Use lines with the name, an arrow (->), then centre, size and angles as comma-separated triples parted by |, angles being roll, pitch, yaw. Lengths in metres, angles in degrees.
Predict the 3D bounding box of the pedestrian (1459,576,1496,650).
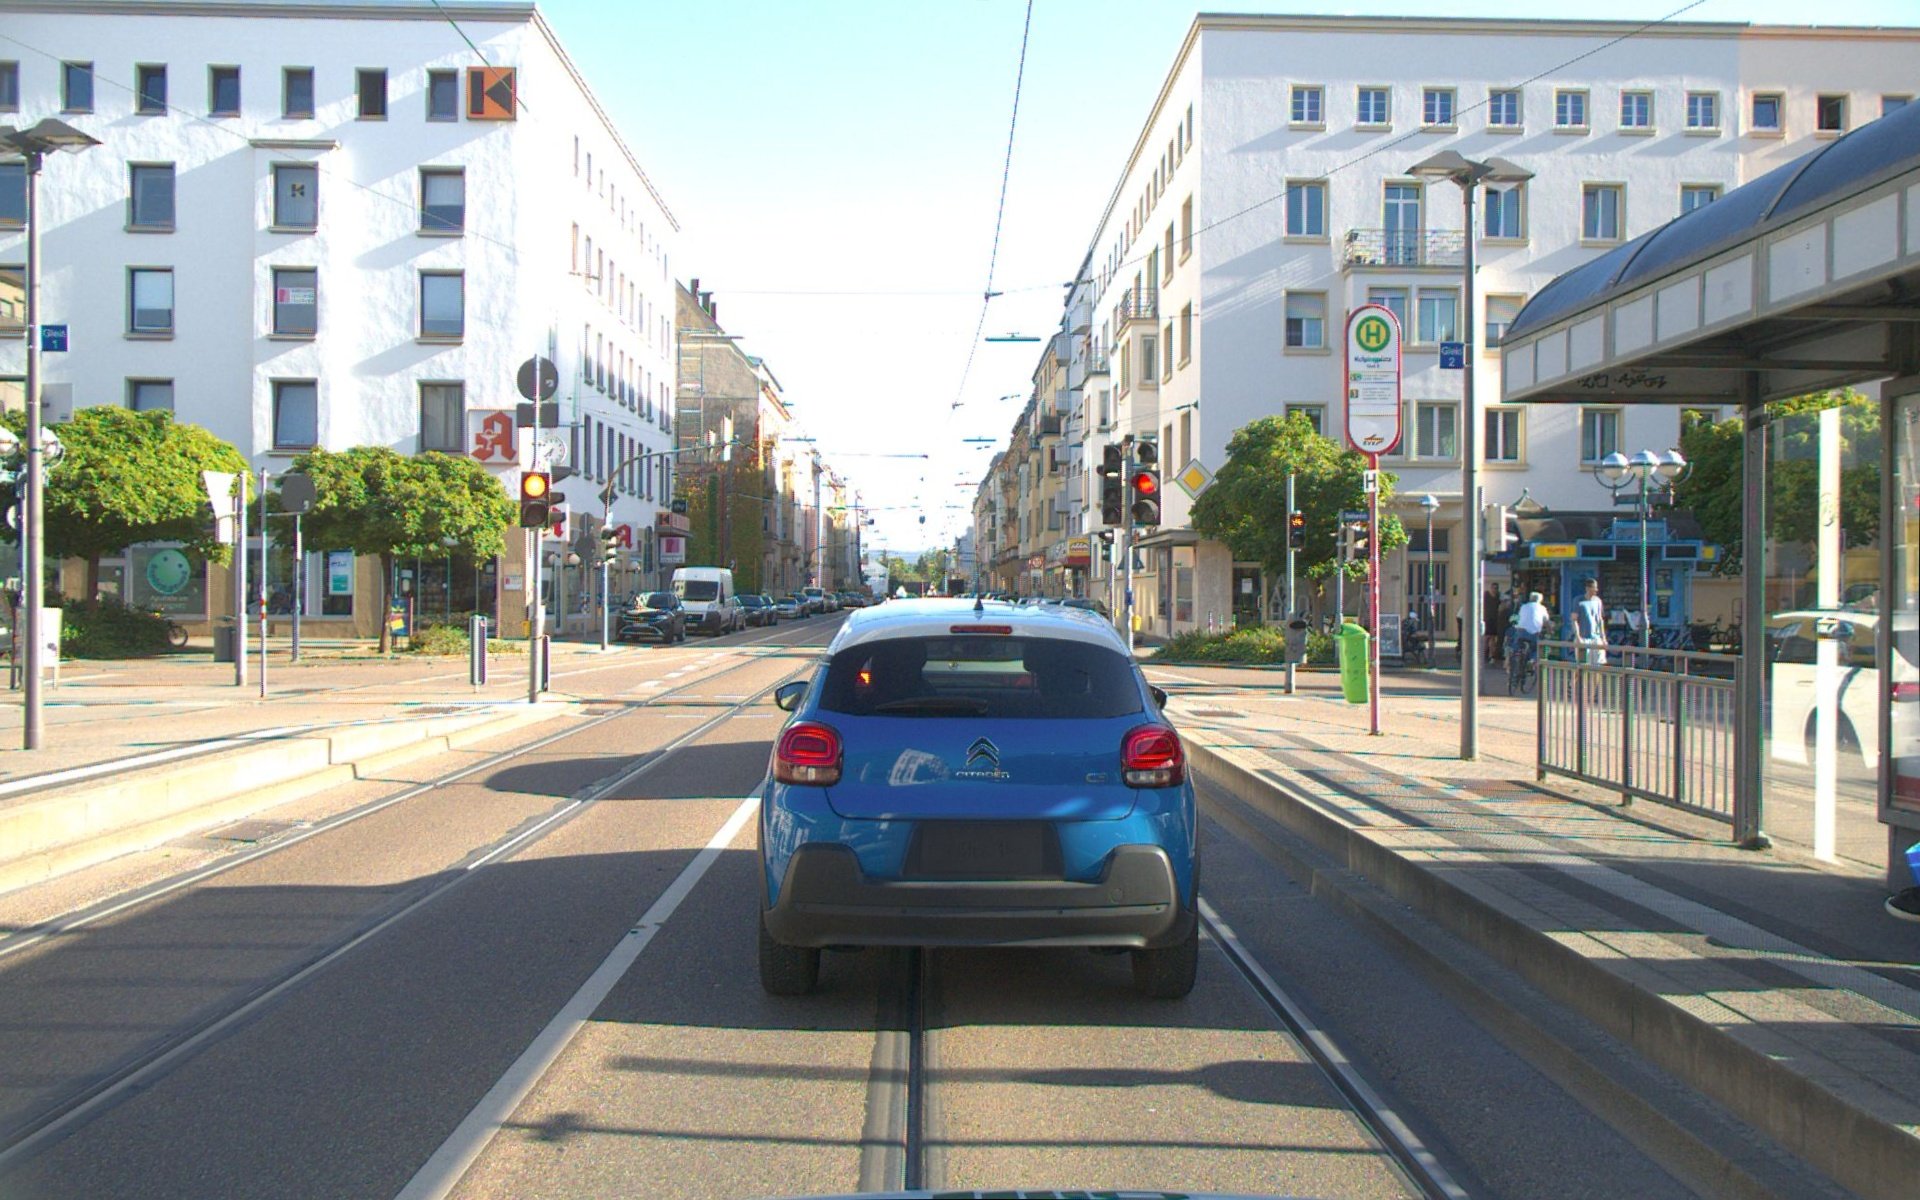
pedestrian -> 13.319, 0.333, 42.607 | 0.768, 1.871, 0.678 | 0, 0, 2

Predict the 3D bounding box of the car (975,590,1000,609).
car -> 2.197, -0.013, 133.234 | 1.953, 1.489, 4.000 | 0, 0, 0

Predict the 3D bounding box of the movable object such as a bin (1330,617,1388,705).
movable object such as a bin -> 3.741, 0.563, 15.512 | 0.439, 0.800, 0.489 | 0, 0, 2

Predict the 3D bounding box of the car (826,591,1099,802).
car -> -0.022, 0.689, 14.328 | 1.944, 1.490, 4.814 | 1, 0, -1

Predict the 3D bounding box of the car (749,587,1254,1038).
car -> 0.112, 0.721, 7.544 | 1.693, 1.508, 3.826 | 1, 0, -1

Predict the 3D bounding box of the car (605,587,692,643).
car -> -9.782, 0.464, 52.253 | 1.953, 1.596, 4.401 | 3, 0, -2

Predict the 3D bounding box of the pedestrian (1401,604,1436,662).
pedestrian -> 10.877, 0.776, 39.203 | 0.725, 1.339, 0.628 | 0, 0, 22

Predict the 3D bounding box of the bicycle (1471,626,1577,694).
bicycle -> 9.524, 1.001, 27.882 | 2.305, 1.080, 0.709 | 2, 0, -45

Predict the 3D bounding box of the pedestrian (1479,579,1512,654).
pedestrian -> 13.573, 0.418, 41.944 | 0.639, 1.871, 0.659 | 0, 0, 2

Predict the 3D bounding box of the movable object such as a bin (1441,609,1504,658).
movable object such as a bin -> 12.520, 0.803, 40.422 | 1.174, 1.173, 1.217 | 0, 0, 0

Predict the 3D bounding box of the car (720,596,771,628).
car -> -10.094, 0.545, 77.975 | 1.953, 1.422, 4.155 | 1, 0, -2

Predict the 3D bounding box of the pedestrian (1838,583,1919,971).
pedestrian -> 3.595, 0.594, 5.341 | 0.978, 1.246, 0.923 | 3, -1, -1

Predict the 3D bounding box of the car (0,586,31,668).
car -> -22.381, 0.567, 35.423 | 3.906, 1.736, 1.825 | 0, 0, -1

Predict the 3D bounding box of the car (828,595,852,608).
car -> -11.135, 0.109, 153.734 | 1.953, 1.176, 4.000 | 0, 0, 0

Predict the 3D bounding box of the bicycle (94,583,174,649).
bicycle -> -21.328, 0.400, 42.784 | 0.605, 1.635, 2.621 | 0, 0, 3

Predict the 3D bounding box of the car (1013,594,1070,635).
car -> 3.066, 0.523, 62.964 | 1.953, 1.527, 4.000 | 0, 0, 0

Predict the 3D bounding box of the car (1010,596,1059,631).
car -> 3.247, 0.587, 72.899 | 1.953, 1.489, 4.000 | 0, 0, 0

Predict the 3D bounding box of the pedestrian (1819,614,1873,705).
pedestrian -> 11.845, 0.787, 22.130 | 0.459, 1.189, 0.558 | 1, -1, 8

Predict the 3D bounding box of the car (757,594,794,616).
car -> -11.463, 0.324, 103.008 | 1.953, 1.348, 3.921 | 1, 0, -2

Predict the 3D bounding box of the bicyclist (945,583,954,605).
bicyclist -> -0.997, -0.552, 159.523 | 0.793, 2.049, 0.922 | 1, -1, -1

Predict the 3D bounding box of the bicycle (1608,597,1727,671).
bicycle -> 15.894, 0.762, 37.205 | 2.336, 1.558, 0.726 | 2, 0, -2

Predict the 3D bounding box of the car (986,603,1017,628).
car -> 2.667, 0.968, 106.233 | 1.952, 1.579, 4.000 | 0, 0, 1

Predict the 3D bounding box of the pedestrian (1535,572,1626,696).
pedestrian -> 9.764, 0.533, 26.065 | 0.961, 1.910, 1.128 | 0, -1, -3

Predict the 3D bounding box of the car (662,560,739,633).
car -> -9.722, -0.121, 62.455 | 2.043, 2.586, 6.203 | 1, 0, -2

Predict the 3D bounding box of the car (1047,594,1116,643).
car -> 3.814, 0.560, 52.442 | 1.870, 1.489, 4.000 | 0, 0, 0

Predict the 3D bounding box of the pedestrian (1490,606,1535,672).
pedestrian -> 12.345, 0.865, 36.977 | 0.715, 1.434, 0.755 | 0, 3, -1

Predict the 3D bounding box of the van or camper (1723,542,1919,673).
van or camper -> 20.988, 0.133, 36.758 | 6.976, 2.795, 2.371 | 0, 1, 0

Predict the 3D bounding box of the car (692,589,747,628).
car -> -10.035, 0.353, 69.280 | 1.850, 1.522, 3.560 | 1, 0, -2

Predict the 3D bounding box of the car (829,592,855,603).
car -> -13.171, -0.255, 184.622 | 1.951, 1.176, 4.518 | 0, 0, 8

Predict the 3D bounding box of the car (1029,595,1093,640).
car -> 3.461, 0.569, 57.236 | 1.953, 1.489, 4.000 | 0, 0, 0

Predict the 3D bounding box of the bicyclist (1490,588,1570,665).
bicyclist -> 9.620, 0.451, 27.905 | 0.926, 1.247, 0.938 | 2, 0, -44

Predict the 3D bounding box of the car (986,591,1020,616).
car -> 2.641, 0.213, 101.889 | 1.953, 1.489, 4.504 | 0, 0, 0

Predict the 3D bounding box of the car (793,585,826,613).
car -> -11.478, -0.065, 126.446 | 1.965, 2.049, 4.690 | 1, 0, 1

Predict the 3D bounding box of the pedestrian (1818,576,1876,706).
pedestrian -> 12.269, 0.562, 22.882 | 0.546, 1.775, 0.527 | 1, -1, 10

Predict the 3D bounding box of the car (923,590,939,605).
car -> -3.484, -0.337, 199.956 | 1.953, 1.803, 3.999 | 0, 0, -1

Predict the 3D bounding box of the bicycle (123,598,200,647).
bicycle -> -20.618, 0.559, 42.771 | 0.605, 1.211, 2.621 | 0, 0, 2

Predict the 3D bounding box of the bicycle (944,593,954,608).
bicycle -> -1.049, 0.039, 159.860 | 0.901, 1.413, 3.131 | 0, 0, -1

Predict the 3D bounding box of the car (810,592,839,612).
car -> -11.184, 0.204, 136.452 | 1.914, 1.579, 3.939 | 1, 0, 1
